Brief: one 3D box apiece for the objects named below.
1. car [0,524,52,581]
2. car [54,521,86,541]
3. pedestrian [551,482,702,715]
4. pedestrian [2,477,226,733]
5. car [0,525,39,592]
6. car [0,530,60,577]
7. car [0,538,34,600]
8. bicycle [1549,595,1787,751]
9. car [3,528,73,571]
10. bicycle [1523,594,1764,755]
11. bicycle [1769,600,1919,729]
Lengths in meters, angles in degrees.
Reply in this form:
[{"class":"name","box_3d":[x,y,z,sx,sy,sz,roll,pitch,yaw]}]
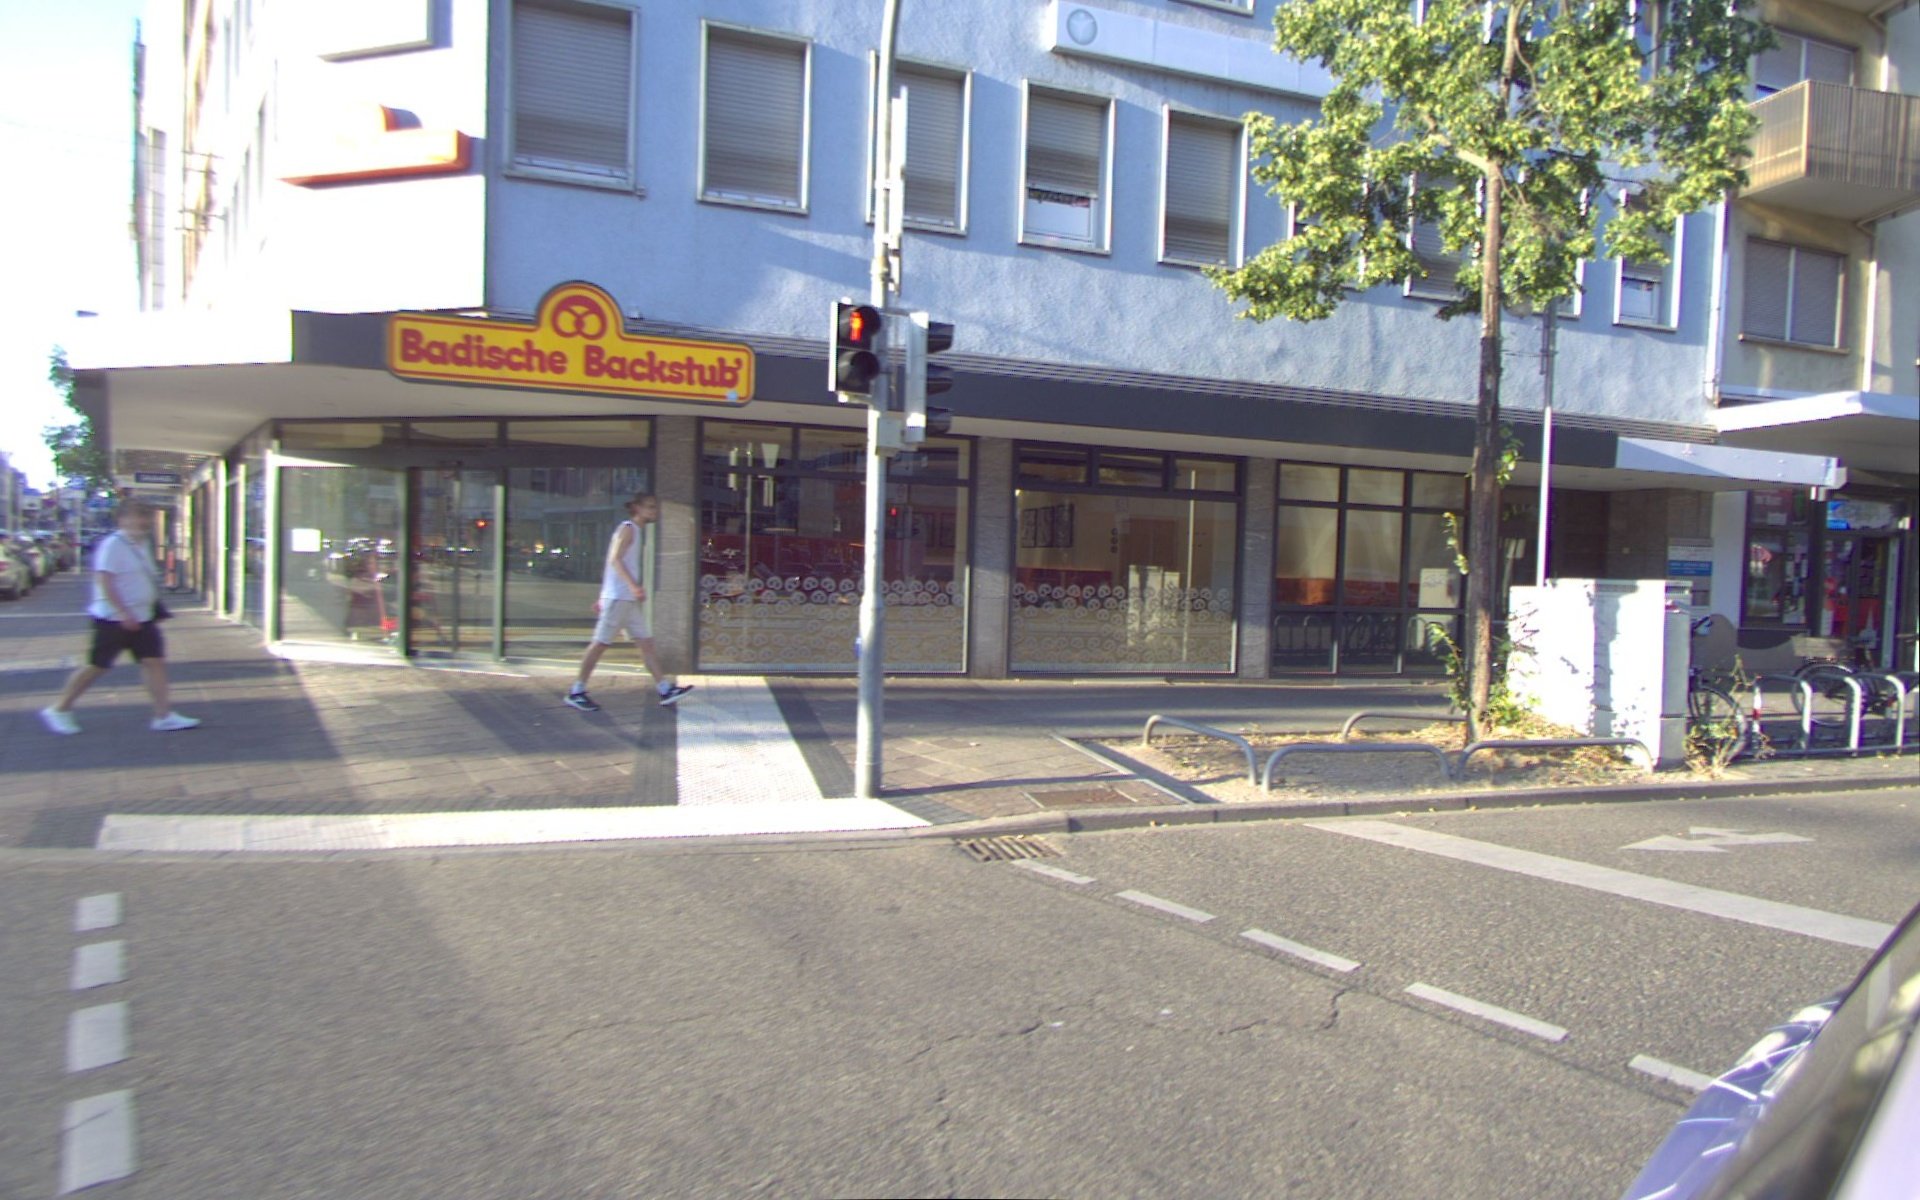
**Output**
[{"class":"car","box_3d":[-29.342,-1.491,31.132,1.815,1.655,3.999,0,3,-38]},{"class":"car","box_3d":[-76.274,-5.917,86.774,1.815,1.655,3.999,0,3,-38]},{"class":"pedestrian","box_3d":[-2.875,-0.044,8.787,0.978,1.909,0.804,2,3,12]},{"class":"pedestrian","box_3d":[-6.177,0.001,7.436,0.978,1.746,0.804,2,3,12]},{"class":"car","box_3d":[-25.393,-1.117,26.308,1.815,1.655,3.999,0,3,-38]},{"class":"car","box_3d":[-34.613,-1.728,37.346,1.815,1.655,3.999,0,3,-38]},{"class":"car","box_3d":[-22.556,-0.750,23.042,1.815,1.310,3.999,-1,3,-38]},{"class":"bicycle","box_3d":[6.483,0.607,9.412,0.460,1.218,1.924,1,2,-15]},{"class":"car","box_3d":[-37.853,-2.083,41.634,1.815,1.655,3.999,0,3,-38]},{"class":"bicycle","box_3d":[6.062,0.597,9.130,0.460,1.218,1.924,1,2,-15]},{"class":"bicycle","box_3d":[9.531,0.651,10.333,0.460,1.218,1.922,1,2,-27]}]
